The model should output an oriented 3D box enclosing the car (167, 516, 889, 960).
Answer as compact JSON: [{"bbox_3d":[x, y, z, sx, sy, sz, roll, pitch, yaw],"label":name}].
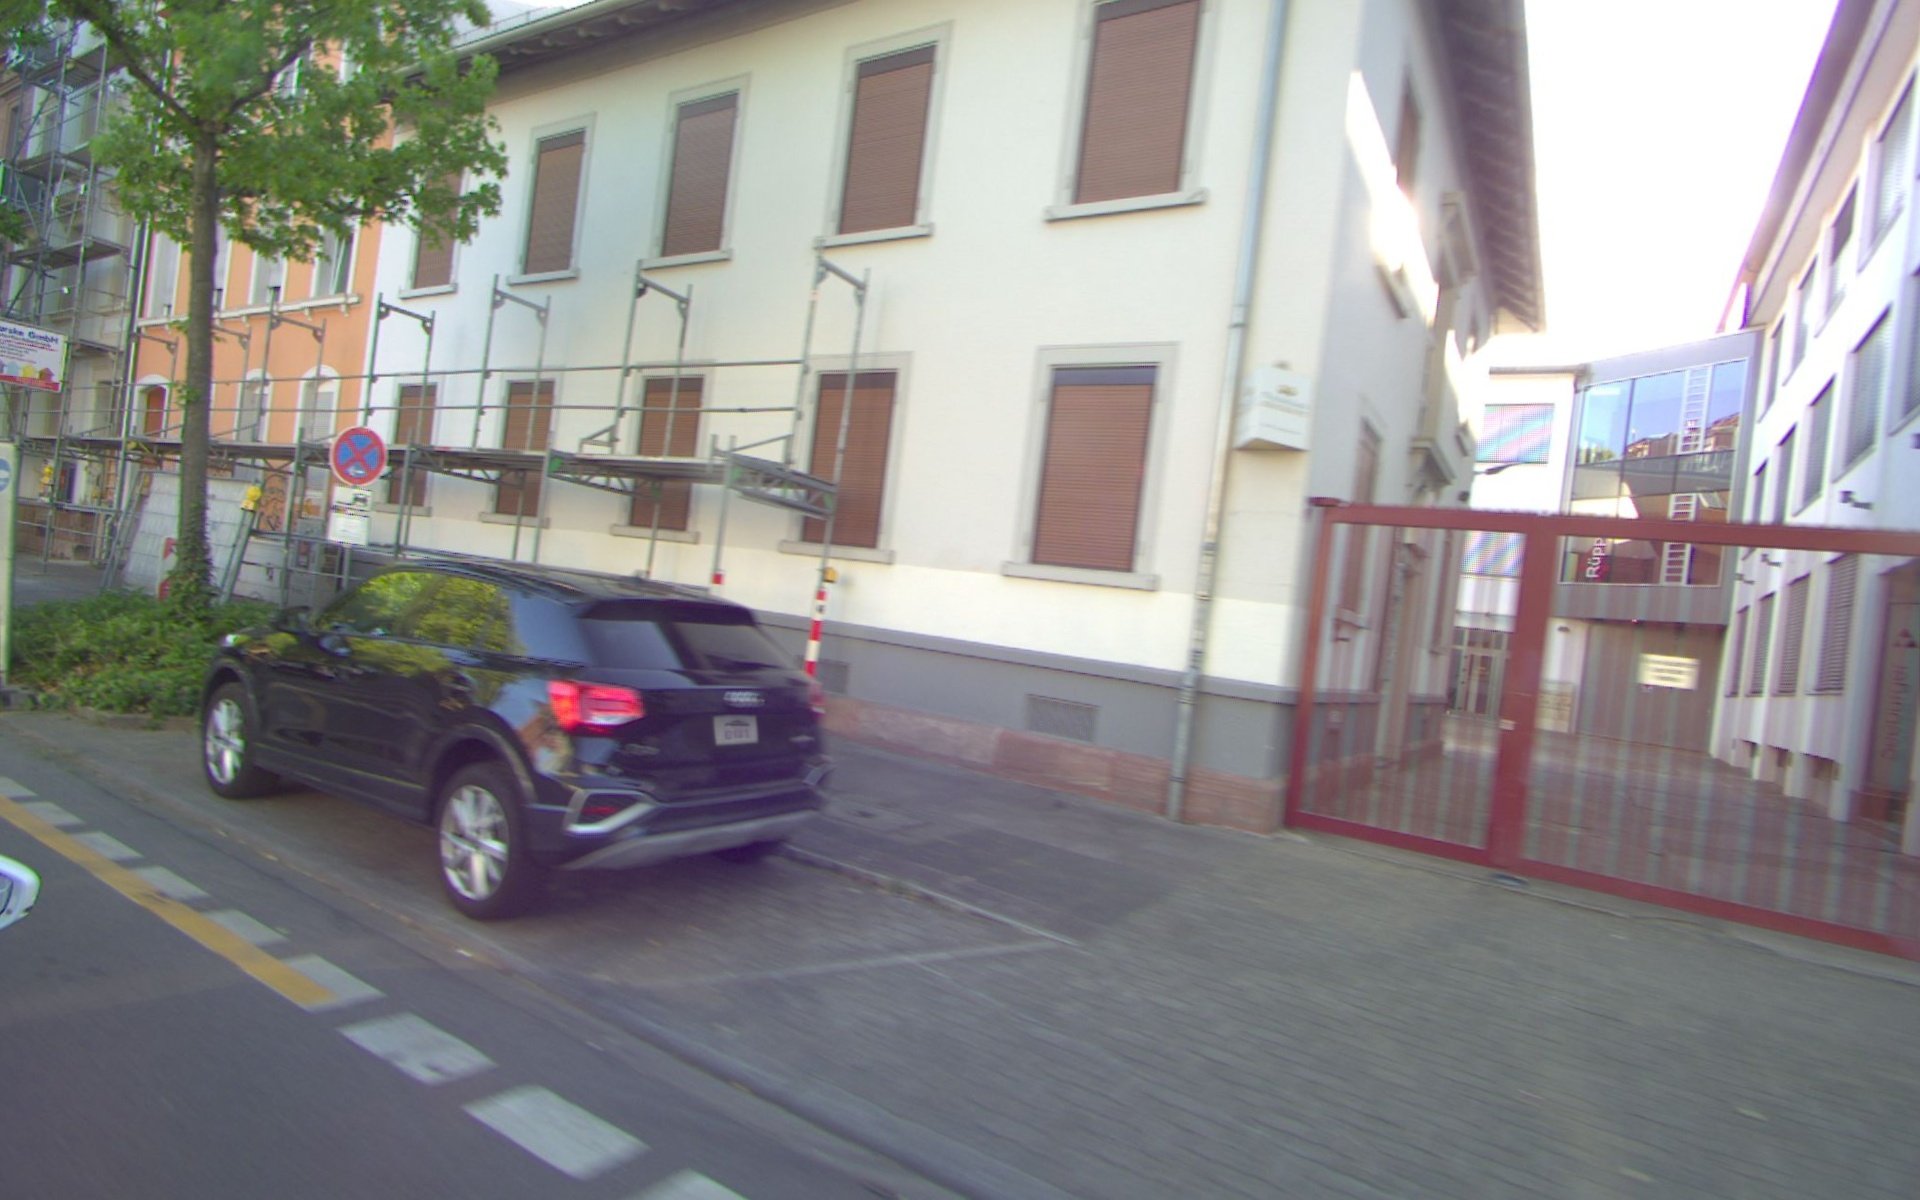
[{"bbox_3d":[-2.592,0.492,5.680,4.044,1.502,1.764,7,0,34],"label":"car"}]
